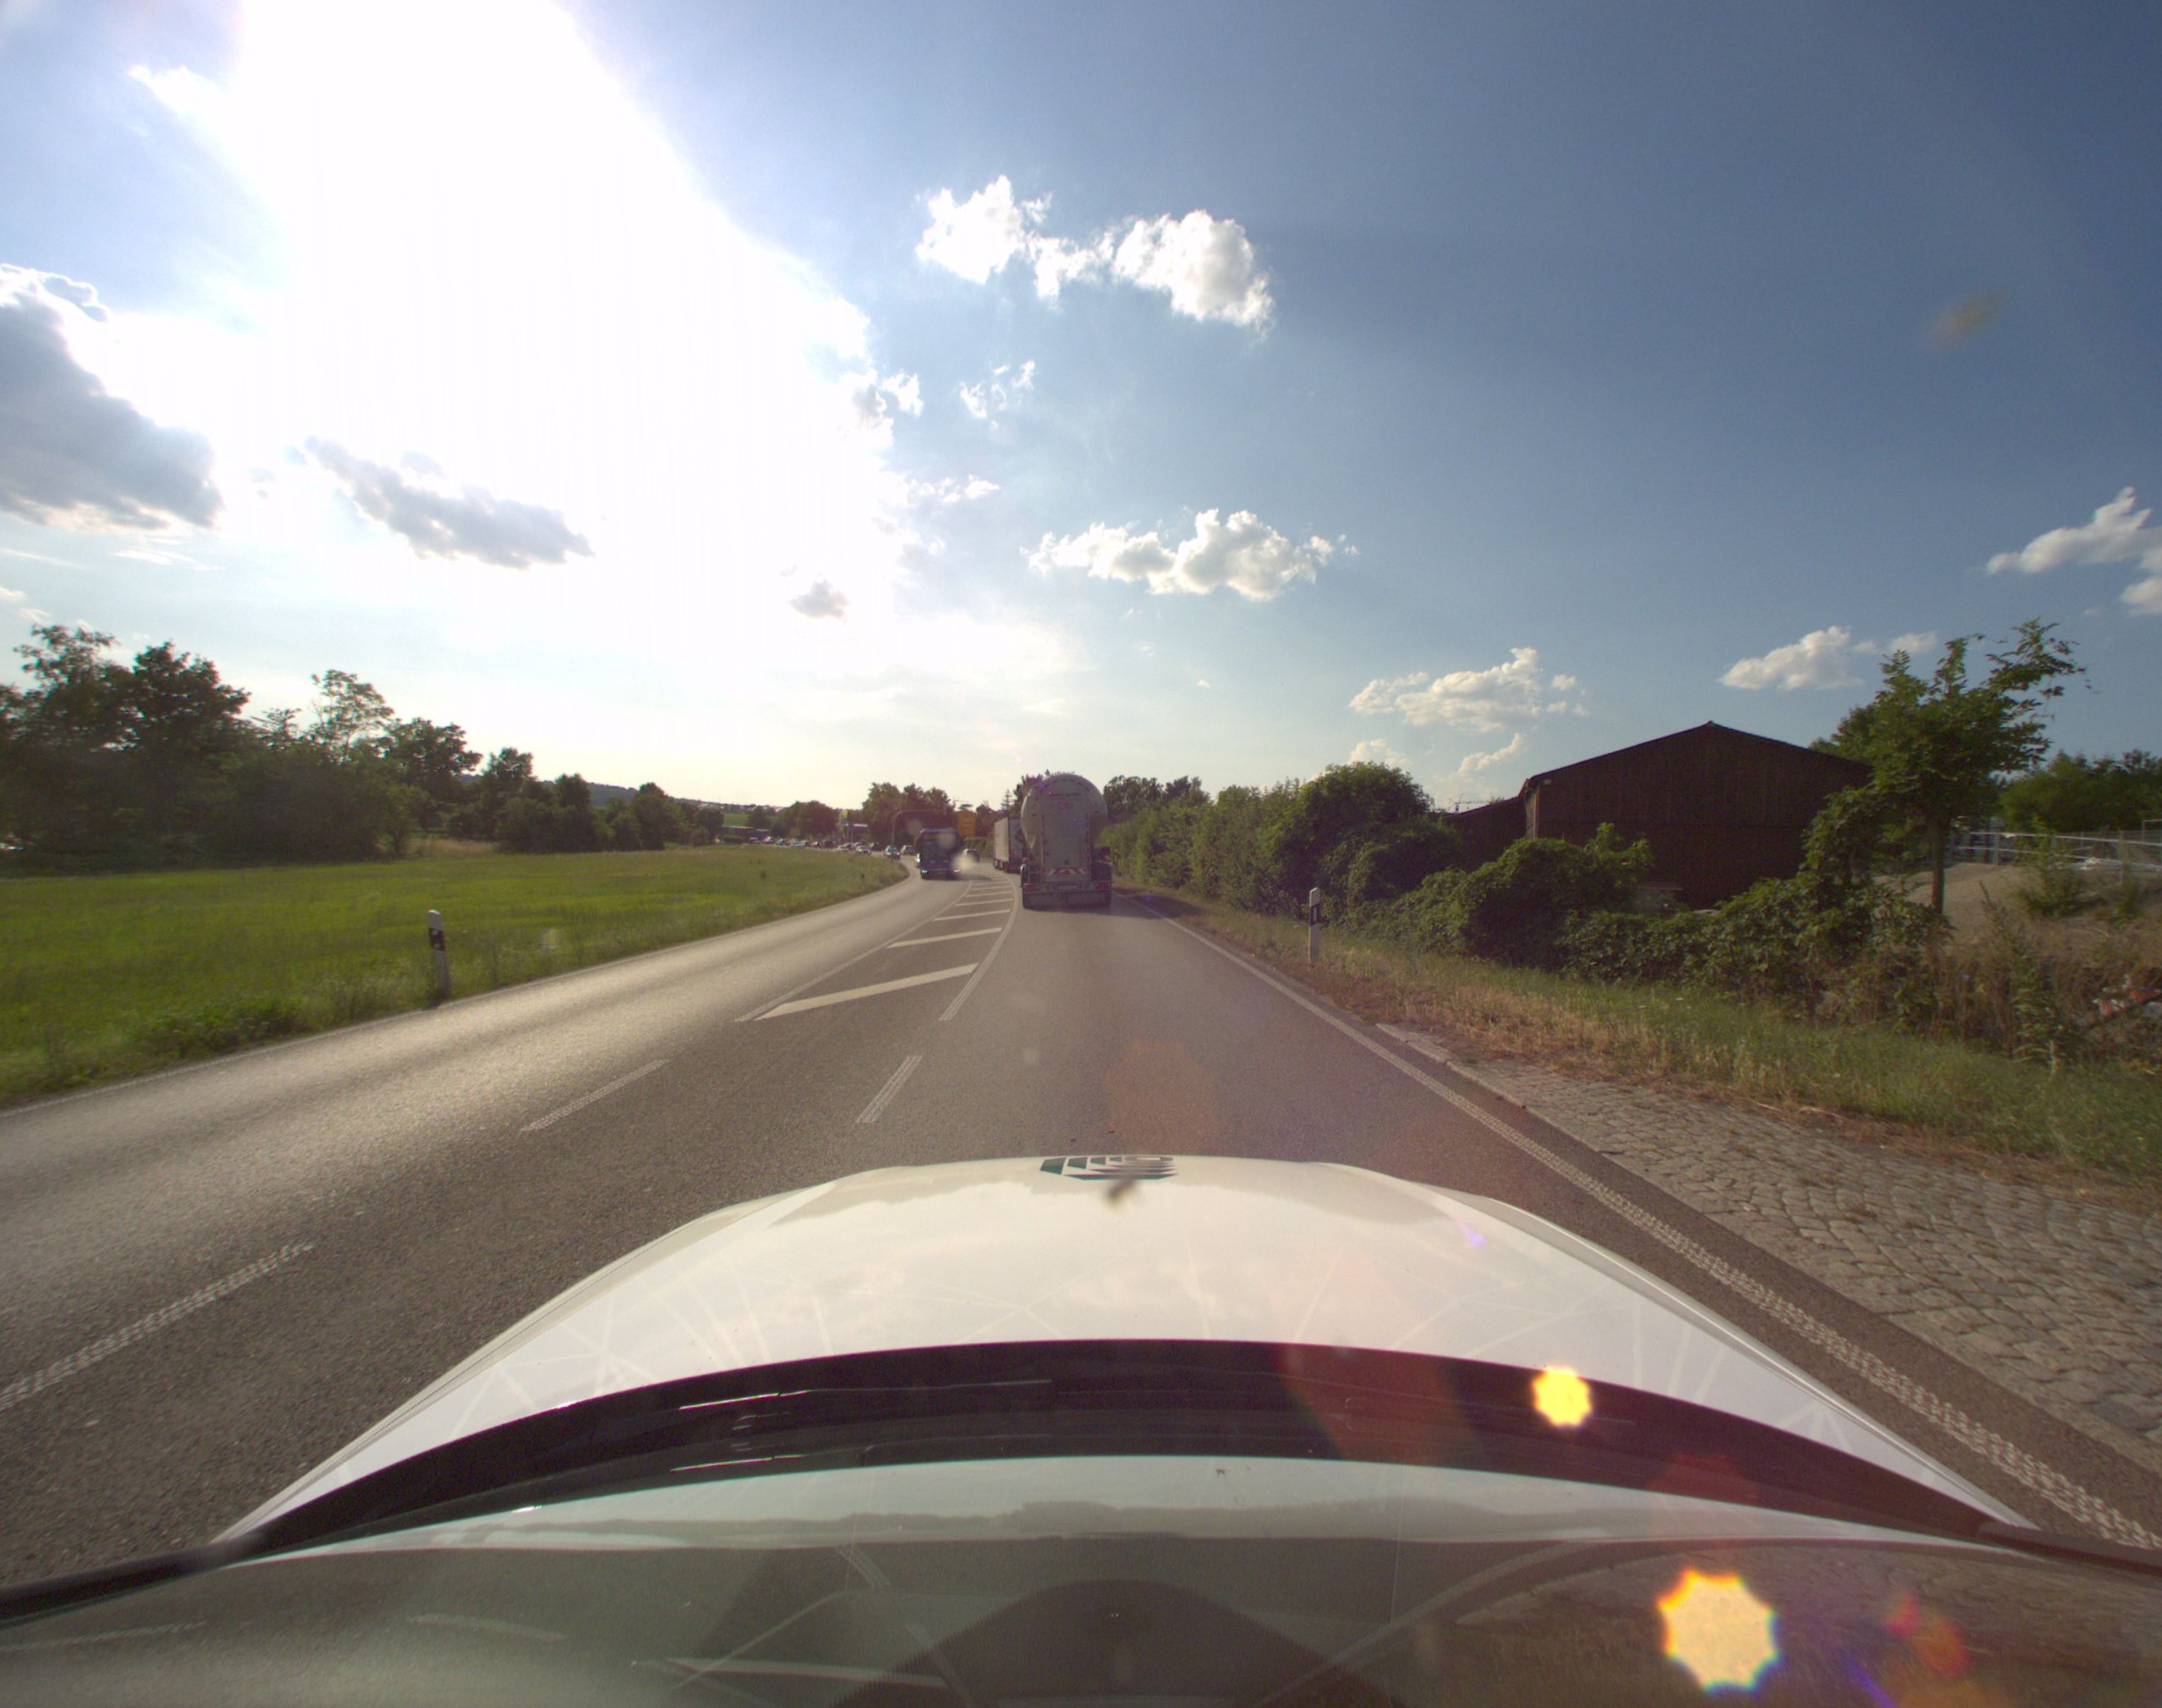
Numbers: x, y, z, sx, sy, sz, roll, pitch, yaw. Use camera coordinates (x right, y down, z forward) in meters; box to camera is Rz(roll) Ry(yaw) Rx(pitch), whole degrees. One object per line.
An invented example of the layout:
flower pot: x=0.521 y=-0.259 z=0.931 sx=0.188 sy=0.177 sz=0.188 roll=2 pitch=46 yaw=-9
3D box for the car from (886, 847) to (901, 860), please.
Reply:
car: x=-24.819 y=-0.038 z=107.812 sx=1.844 sy=1.656 sz=3.981 roll=0 pitch=-1 yaw=-14

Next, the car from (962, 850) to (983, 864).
car: x=-12.886 y=0.338 z=96.474 sx=1.997 sy=1.656 sz=3.979 roll=0 pitch=-1 yaw=-15

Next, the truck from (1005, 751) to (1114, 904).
truck: x=-0.815 y=-0.649 z=28.124 sx=2.968 sy=4.175 sz=11.650 roll=0 pitch=-1 yaw=-2

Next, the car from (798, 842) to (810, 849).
car: x=-65.402 y=-1.899 z=192.226 sx=1.895 sy=1.599 sz=3.959 roll=0 pitch=0 yaw=-33

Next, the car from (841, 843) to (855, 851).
car: x=-48.344 y=-1.477 z=169.003 sx=2.096 sy=1.599 sz=3.966 roll=0 pitch=0 yaw=-26

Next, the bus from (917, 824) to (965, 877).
bus: x=-9.415 y=-0.145 z=54.912 sx=2.794 sy=3.181 sz=12.084 roll=0 pitch=-1 yaw=-10

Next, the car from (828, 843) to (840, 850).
car: x=-57.000 y=-1.714 z=188.001 sx=1.893 sy=1.599 sz=3.962 roll=0 pitch=0 yaw=-30

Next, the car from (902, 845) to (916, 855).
car: x=-28.632 y=-0.629 z=135.152 sx=1.847 sy=1.656 sz=3.974 roll=0 pitch=-1 yaw=-19

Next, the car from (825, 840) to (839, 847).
car: x=-54.137 y=-2.266 z=176.984 sx=2.098 sy=1.599 sz=3.961 roll=0 pitch=0 yaw=-31

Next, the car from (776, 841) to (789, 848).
car: x=-74.634 y=-2.329 z=203.662 sx=1.897 sy=1.599 sz=3.955 roll=0 pitch=0 yaw=-37

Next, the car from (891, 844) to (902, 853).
car: x=-33.736 y=-0.976 z=148.646 sx=1.524 sy=1.656 sz=3.848 roll=0 pitch=-1 yaw=-19

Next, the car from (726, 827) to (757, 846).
car: x=-92.251 y=-4.637 z=220.898 sx=3.572 sy=5.059 sz=13.084 roll=0 pitch=0 yaw=-42

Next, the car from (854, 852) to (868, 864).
car: x=-29.961 y=0.586 z=111.170 sx=1.696 sy=1.552 sz=4.133 roll=0 pitch=-1 yaw=-13

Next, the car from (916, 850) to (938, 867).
car: x=-14.993 y=0.450 z=79.324 sx=1.844 sy=1.656 sz=3.980 roll=0 pitch=-1 yaw=-14

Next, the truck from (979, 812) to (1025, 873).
truck: x=-6.649 y=-0.867 z=67.795 sx=2.966 sy=4.887 sz=6.401 roll=0 pitch=-1 yaw=-13

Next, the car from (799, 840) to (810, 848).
car: x=-59.965 y=-2.077 z=176.398 sx=1.850 sy=1.656 sz=3.967 roll=0 pitch=-1 yaw=-25

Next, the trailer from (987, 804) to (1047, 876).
trailer: x=-4.920 y=-0.902 z=60.452 sx=2.968 sy=4.882 sz=10.240 roll=0 pitch=-1 yaw=-13

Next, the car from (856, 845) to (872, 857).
car: x=-34.318 y=-0.484 z=128.732 sx=1.993 sy=1.725 sz=4.411 roll=0 pitch=1 yaw=-10

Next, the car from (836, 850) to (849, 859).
car: x=-42.768 y=0.119 z=145.918 sx=1.850 sy=1.656 sz=3.968 roll=0 pitch=-1 yaw=-24

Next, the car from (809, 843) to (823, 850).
car: x=-60.893 y=-1.615 z=186.923 sx=2.100 sy=1.599 sz=3.958 roll=0 pitch=0 yaw=-34

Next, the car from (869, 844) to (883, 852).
car: x=-41.275 y=-1.144 z=163.779 sx=2.096 sy=1.599 sz=3.966 roll=0 pitch=0 yaw=-26
